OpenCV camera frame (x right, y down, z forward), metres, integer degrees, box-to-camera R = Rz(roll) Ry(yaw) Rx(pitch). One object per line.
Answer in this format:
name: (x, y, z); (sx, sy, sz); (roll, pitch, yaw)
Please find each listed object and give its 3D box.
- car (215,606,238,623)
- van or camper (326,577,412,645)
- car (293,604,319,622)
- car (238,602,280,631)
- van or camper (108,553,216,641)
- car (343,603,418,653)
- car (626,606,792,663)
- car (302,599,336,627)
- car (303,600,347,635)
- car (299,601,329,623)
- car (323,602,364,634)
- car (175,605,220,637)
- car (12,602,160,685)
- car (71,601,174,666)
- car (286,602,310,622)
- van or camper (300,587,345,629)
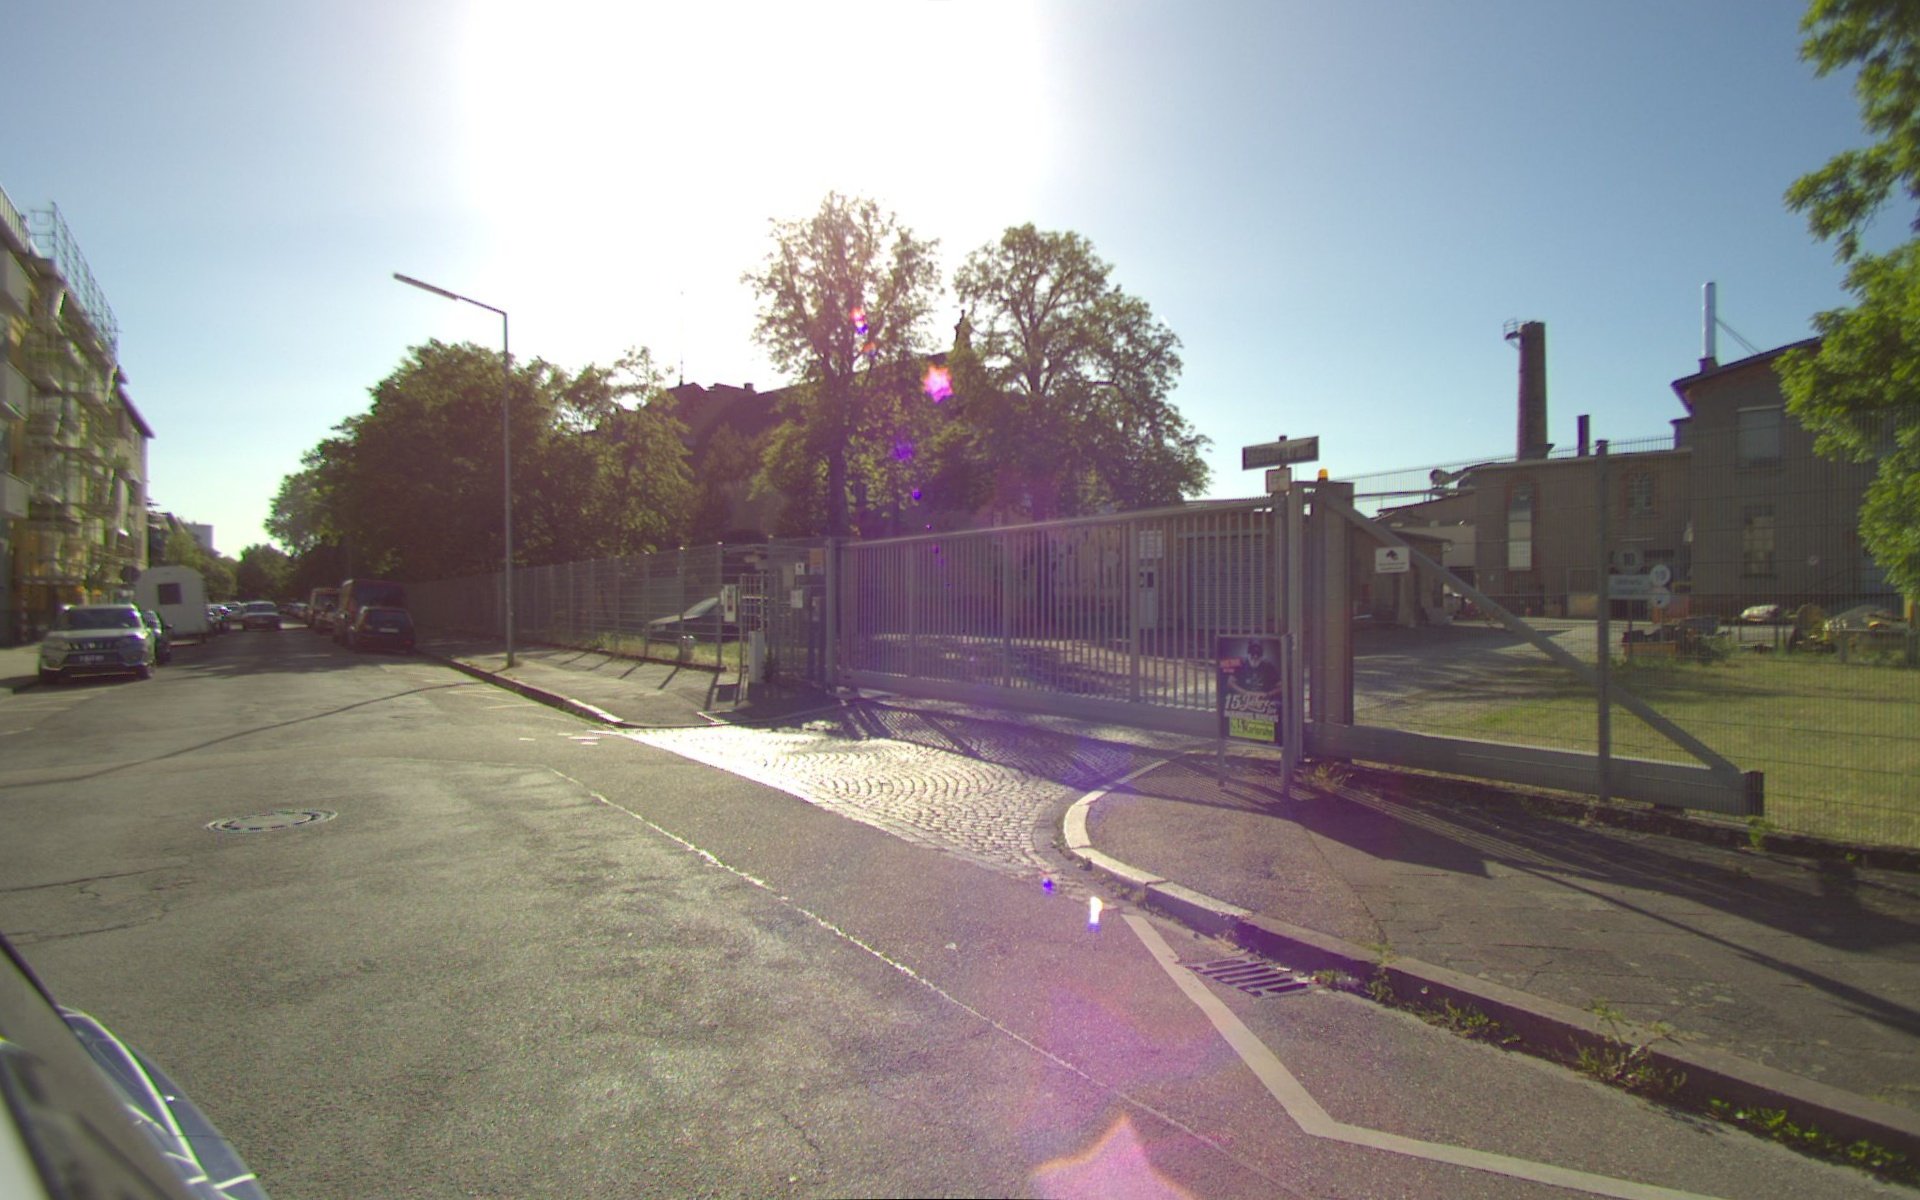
car: (-65.310, 1.310, 90.121); (1.625, 1.470, 4.009); (0, 0, -36)
van or camper: (-21.590, 0.364, 36.843); (2.177, 2.298, 5.323); (-1, 0, -36)
car: (-62.312, 1.222, 96.421); (1.967, 1.762, 4.010); (0, -1, -35)
car: (-39.523, 0.919, 57.010); (1.832, 1.563, 4.009); (0, 0, -36)
van or camper: (-31.424, -0.029, 40.068); (2.910, 3.204, 6.188); (2, -2, -35)
car: (-18.313, 0.834, 31.911); (1.625, 1.427, 4.009); (-1, 0, -36)
car: (-6.790, 0.875, 27.547); (3.934, 1.431, 2.005); (0, 0, -36)
car: (-47.716, 0.954, 75.333); (1.967, 2.029, 4.010); (0, -1, -35)
car: (-32.682, 0.856, 52.035); (1.625, 1.696, 4.009); (0, 0, -36)
car: (-54.435, 0.972, 85.203); (1.967, 1.797, 4.010); (0, -1, -35)
car: (-34.897, 0.992, 57.264); (1.625, 1.696, 4.009); (0, 0, -36)
car: (-36.371, 0.975, 48.323); (1.625, 1.427, 4.009); (-1, 0, -36)
car: (-18.423, 0.827, 21.517); (2.037, 1.564, 4.009); (-1, 0, -36)
car: (-22.057, 0.826, 26.786); (1.847, 1.564, 4.009); (-1, 0, -36)
car: (-67.381, 1.201, 102.976); (1.967, 2.029, 4.010); (0, -1, -35)
van or camper: (-39.551, 0.487, 62.792); (2.092, 2.517, 4.009); (0, 0, -36)
